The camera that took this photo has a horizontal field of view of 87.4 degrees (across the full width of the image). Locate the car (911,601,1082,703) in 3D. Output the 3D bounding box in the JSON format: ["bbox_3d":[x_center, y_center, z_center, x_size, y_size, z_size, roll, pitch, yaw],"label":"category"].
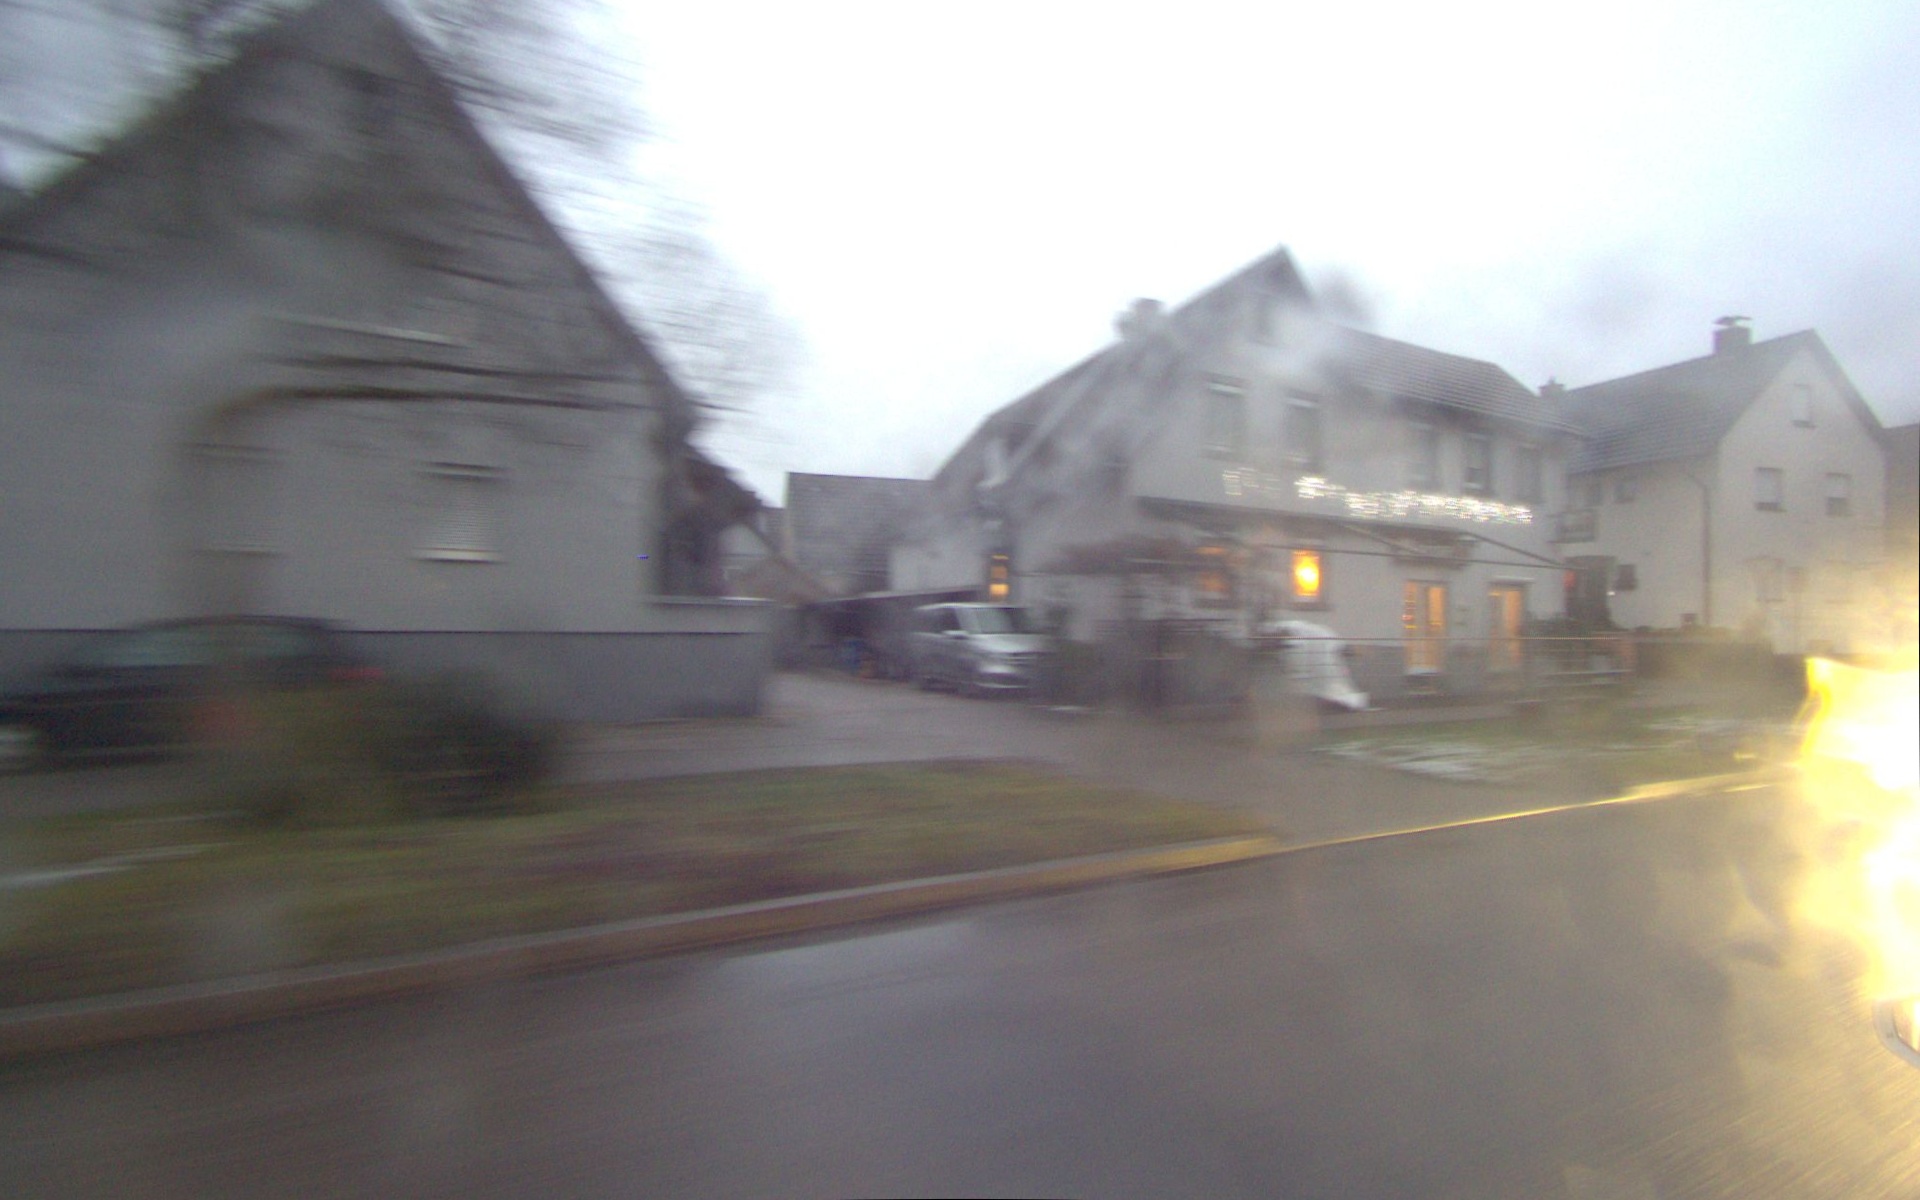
[{"bbox_3d":[0.594,1.006,20.416,1.883,1.823,4.546,1,-2,-21],"label":"car"}]

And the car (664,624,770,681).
[{"bbox_3d":[-6.702,1.389,27.396,2.119,1.413,3.976,1,-2,-24],"label":"car"}]

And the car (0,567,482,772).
[{"bbox_3d":[-7.455,0.663,10.334,4.510,1.779,1.986,1,-2,-28],"label":"car"}]
